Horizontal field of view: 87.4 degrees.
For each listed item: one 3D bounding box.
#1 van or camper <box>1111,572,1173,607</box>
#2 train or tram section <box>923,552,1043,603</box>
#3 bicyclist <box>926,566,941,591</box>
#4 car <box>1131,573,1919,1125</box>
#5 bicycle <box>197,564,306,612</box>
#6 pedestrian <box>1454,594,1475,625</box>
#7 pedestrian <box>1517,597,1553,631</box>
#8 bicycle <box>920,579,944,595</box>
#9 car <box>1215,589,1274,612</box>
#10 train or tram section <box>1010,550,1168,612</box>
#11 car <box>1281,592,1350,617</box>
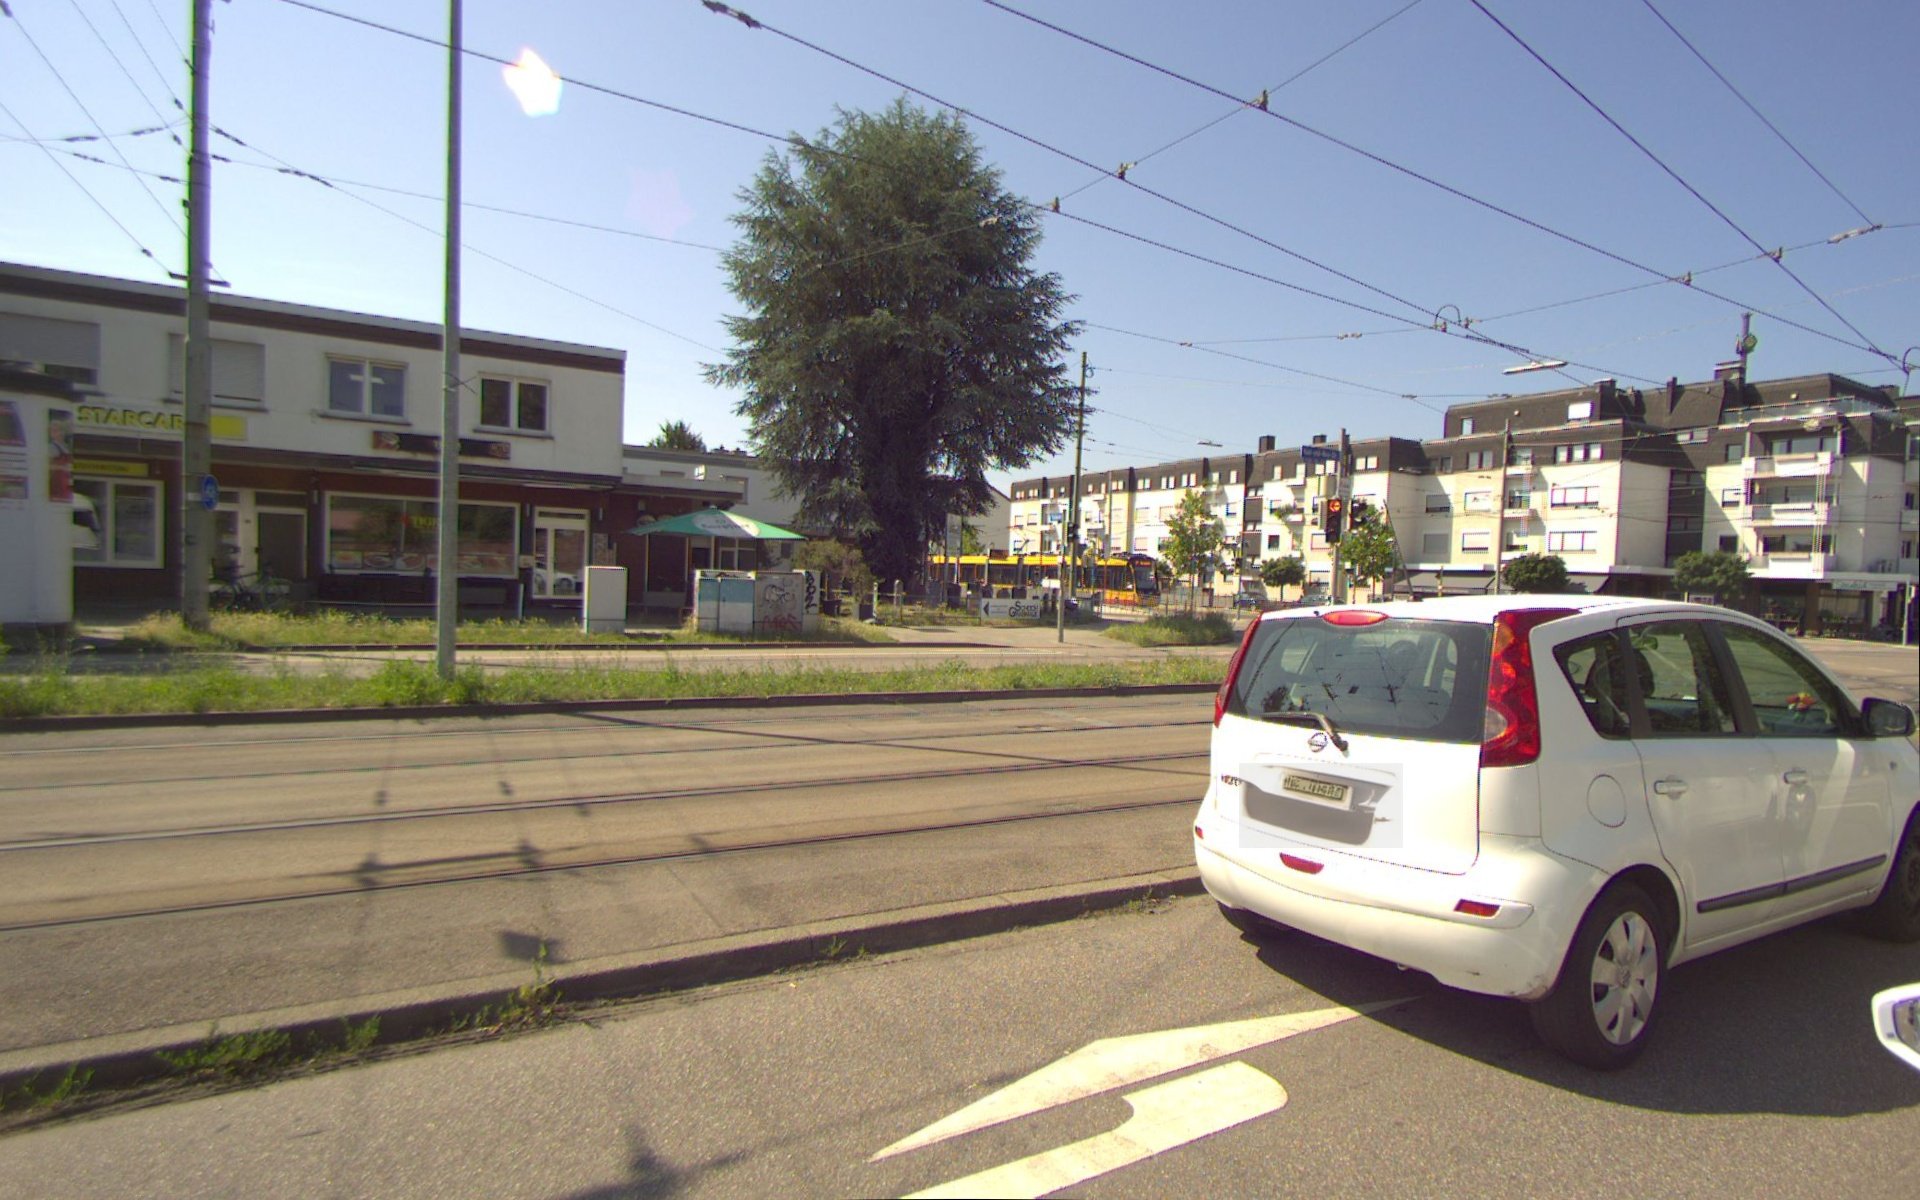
[{"bbox_3d":[14.947,-0.876,82.860,2.349,2.660,4.850,1,1,-31],"label":"van or camper"},{"bbox_3d":[1.506,-1.872,79.880,2.736,3.707,13.795,1,1,-30],"label":"train or tram section"},{"bbox_3d":[-1.700,-1.367,64.348,0.625,1.579,0.759,2,0,-32],"label":"bicyclist"},{"bbox_3d":[2.929,0.747,4.658,4.019,1.582,1.757,1,0,-30],"label":"car"},{"bbox_3d":[-15.675,-0.262,22.269,1.889,0.996,0.754,1,1,-30],"label":"bicycle"},{"bbox_3d":[29.290,0.539,58.314,0.795,1.783,0.763,2,1,1],"label":"pedestrian"},{"bbox_3d":[32.960,0.784,57.602,1.410,1.861,1.123,2,1,8],"label":"pedestrian"},{"bbox_3d":[-1.806,-0.840,64.514,0.530,0.959,2.116,1,1,-33],"label":"bicycle"},{"bbox_3d":[20.623,0.015,72.953,1.807,1.520,3.967,1,1,-30],"label":"car"},{"bbox_3d":[8.315,-1.392,67.918,2.736,3.707,13.795,1,1,-30],"label":"train or tram section"},{"bbox_3d":[23.896,0.282,67.631,1.807,1.520,4.151,1,1,-30],"label":"car"}]
